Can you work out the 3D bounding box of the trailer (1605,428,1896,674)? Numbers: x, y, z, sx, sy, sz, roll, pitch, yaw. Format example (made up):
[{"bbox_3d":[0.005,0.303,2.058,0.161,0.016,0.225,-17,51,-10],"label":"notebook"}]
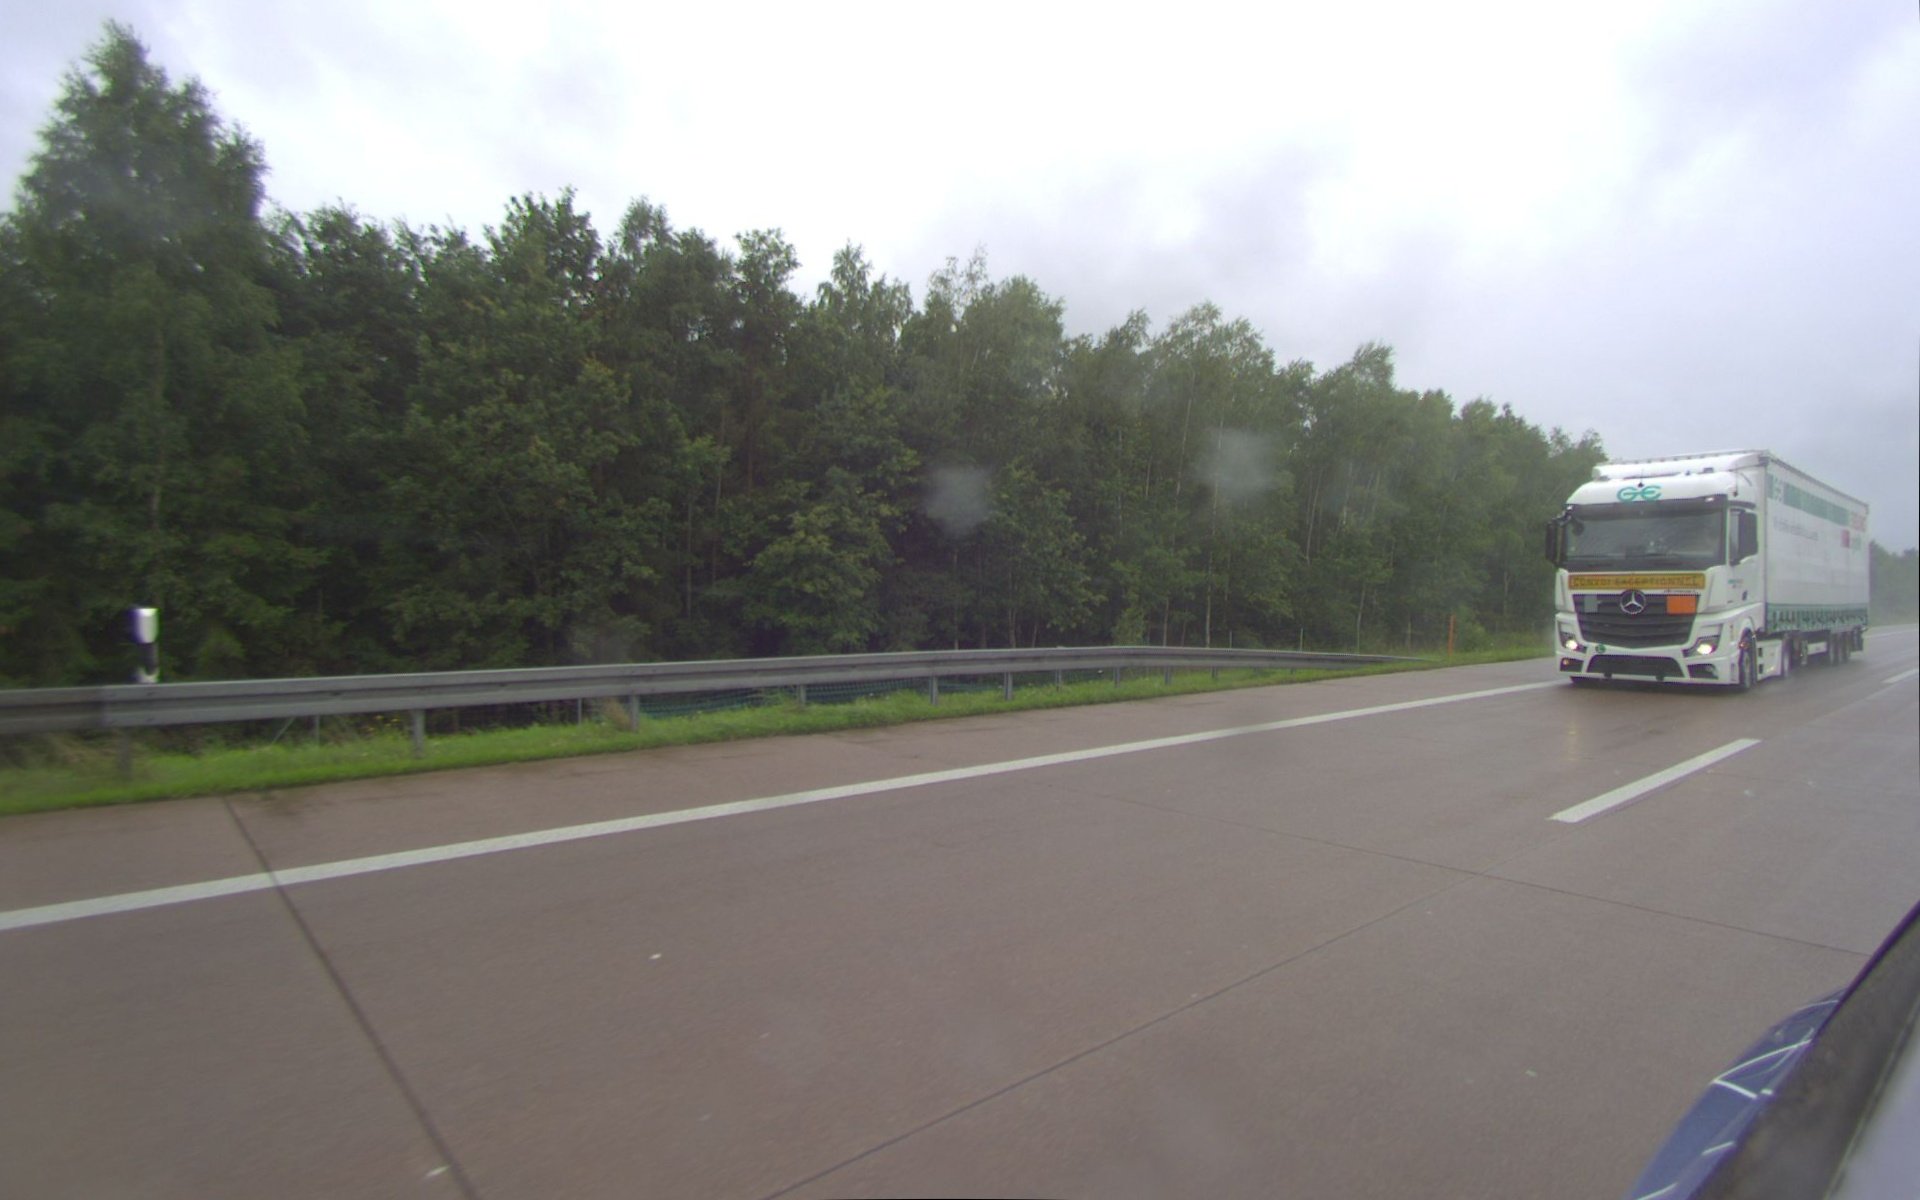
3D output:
[{"bbox_3d":[18.423,-0.832,23.007,12.904,4.284,2.858,1,1,-42],"label":"trailer"}]

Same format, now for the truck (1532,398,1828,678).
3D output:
[{"bbox_3d":[13.102,-0.942,18.211,6.238,4.158,2.886,1,1,-42],"label":"truck"}]
